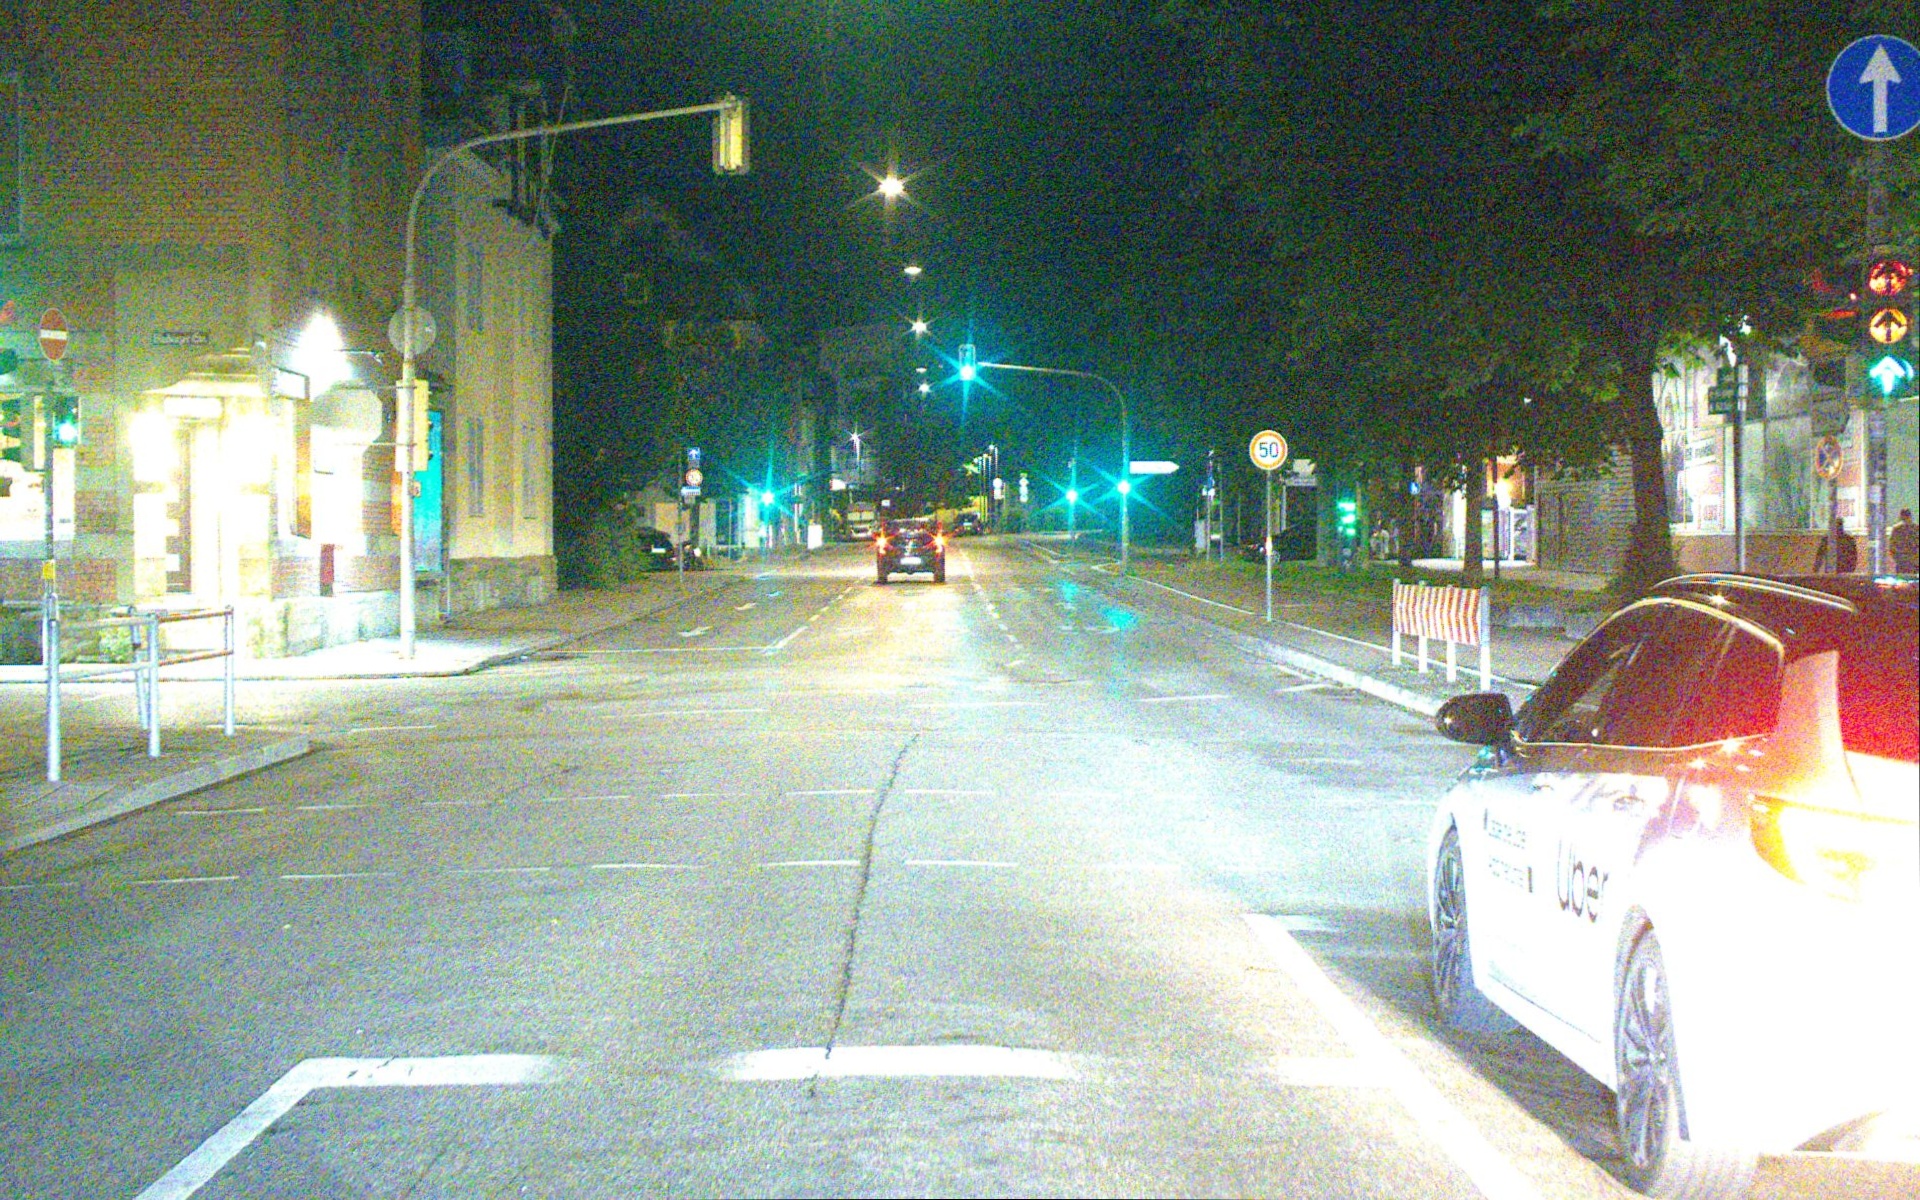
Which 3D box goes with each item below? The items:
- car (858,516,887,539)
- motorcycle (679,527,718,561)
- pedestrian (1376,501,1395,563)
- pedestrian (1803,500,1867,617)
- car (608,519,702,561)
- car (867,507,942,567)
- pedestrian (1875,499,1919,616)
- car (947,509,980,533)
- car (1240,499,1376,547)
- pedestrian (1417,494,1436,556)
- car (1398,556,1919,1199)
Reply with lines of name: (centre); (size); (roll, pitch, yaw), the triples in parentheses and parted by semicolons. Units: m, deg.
car: (-5.540, -4.588, 216.809); (1.777, 1.385, 4.001); (-1, 1, -2)
motorcycle: (-9.385, -2.003, 123.464); (0.781, 1.200, 2.450); (-1, 2, -19)
pedestrian: (13.863, -2.208, 112.019); (0.531, 2.007, 0.670); (-1, 1, -1)
pedestrian: (13.422, -0.642, 52.743); (0.714, 1.763, 0.907); (-1, 1, -1)
car: (-11.213, -2.199, 126.353); (1.803, 1.481, 4.000); (-2, 2, -32)
car: (-1.586, -1.773, 96.988); (1.993, 1.634, 4.001); (-1, 1, -2)
pedestrian: (14.467, -0.658, 52.479); (0.738, 1.763, 0.907); (-1, 1, -1)
car: (0.237, -5.342, 231.581); (1.993, 1.590, 4.001); (-1, 1, -3)
car: (10.556, -2.348, 104.392); (3.987, 1.381, 1.771); (-1, 1, 3)
pedestrian: (15.206, -2.451, 112.056); (0.487, 2.007, 0.551); (-1, 1, -1)
car: (2.336, 0.642, 8.809); (1.729, 1.430, 4.211); (1, 1, -2)
